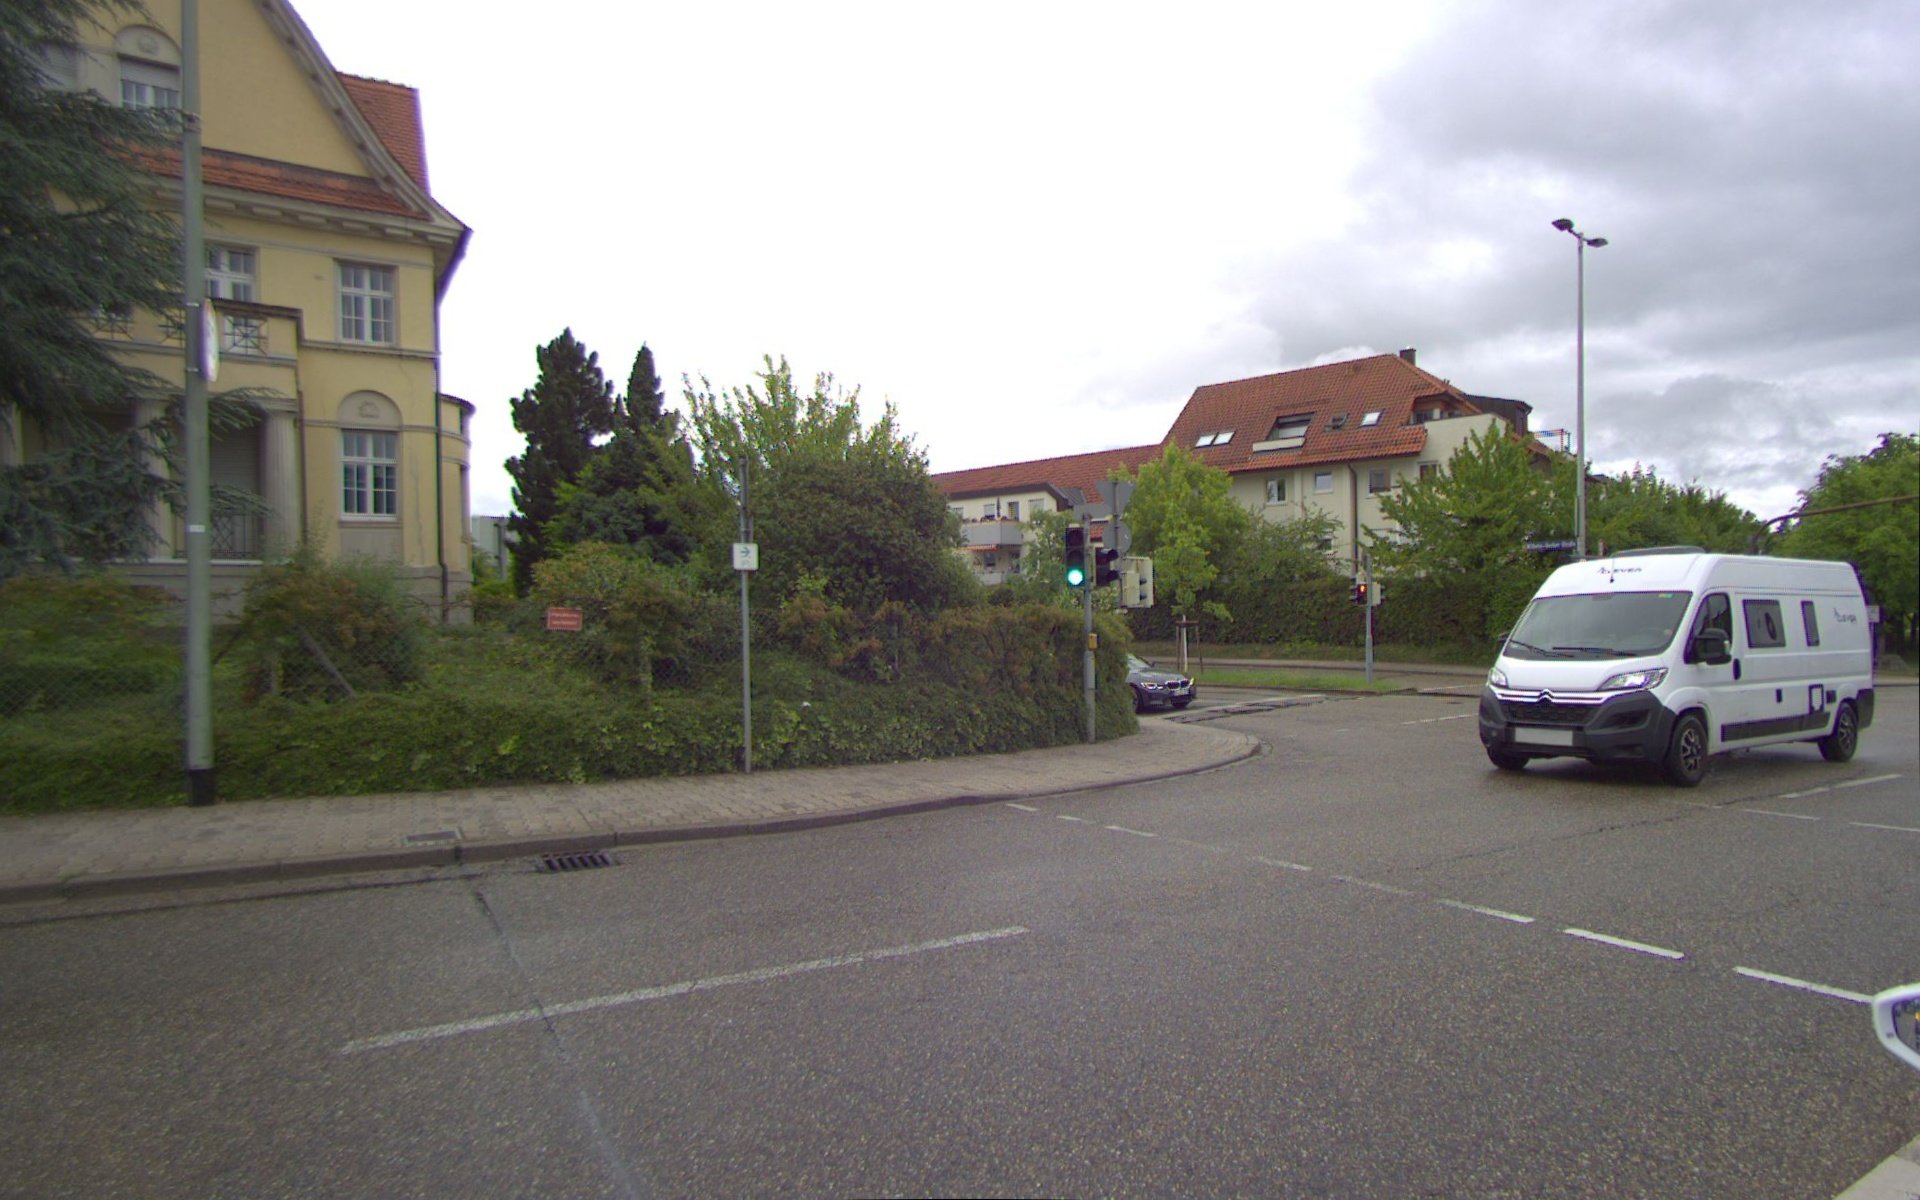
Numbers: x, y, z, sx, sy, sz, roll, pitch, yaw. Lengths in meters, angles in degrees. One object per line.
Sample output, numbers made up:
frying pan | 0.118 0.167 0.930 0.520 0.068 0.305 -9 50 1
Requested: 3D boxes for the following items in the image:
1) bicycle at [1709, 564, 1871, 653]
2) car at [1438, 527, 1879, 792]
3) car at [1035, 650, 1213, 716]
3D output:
bicycle | 11.309 0.141 13.742 0.462 1.141 1.628 0 -2 -31
car | 8.598 0.670 12.211 5.708 2.561 2.286 1 -3 -32
car | 3.988 2.022 25.072 1.759 1.411 4.391 -1 -2 -36
